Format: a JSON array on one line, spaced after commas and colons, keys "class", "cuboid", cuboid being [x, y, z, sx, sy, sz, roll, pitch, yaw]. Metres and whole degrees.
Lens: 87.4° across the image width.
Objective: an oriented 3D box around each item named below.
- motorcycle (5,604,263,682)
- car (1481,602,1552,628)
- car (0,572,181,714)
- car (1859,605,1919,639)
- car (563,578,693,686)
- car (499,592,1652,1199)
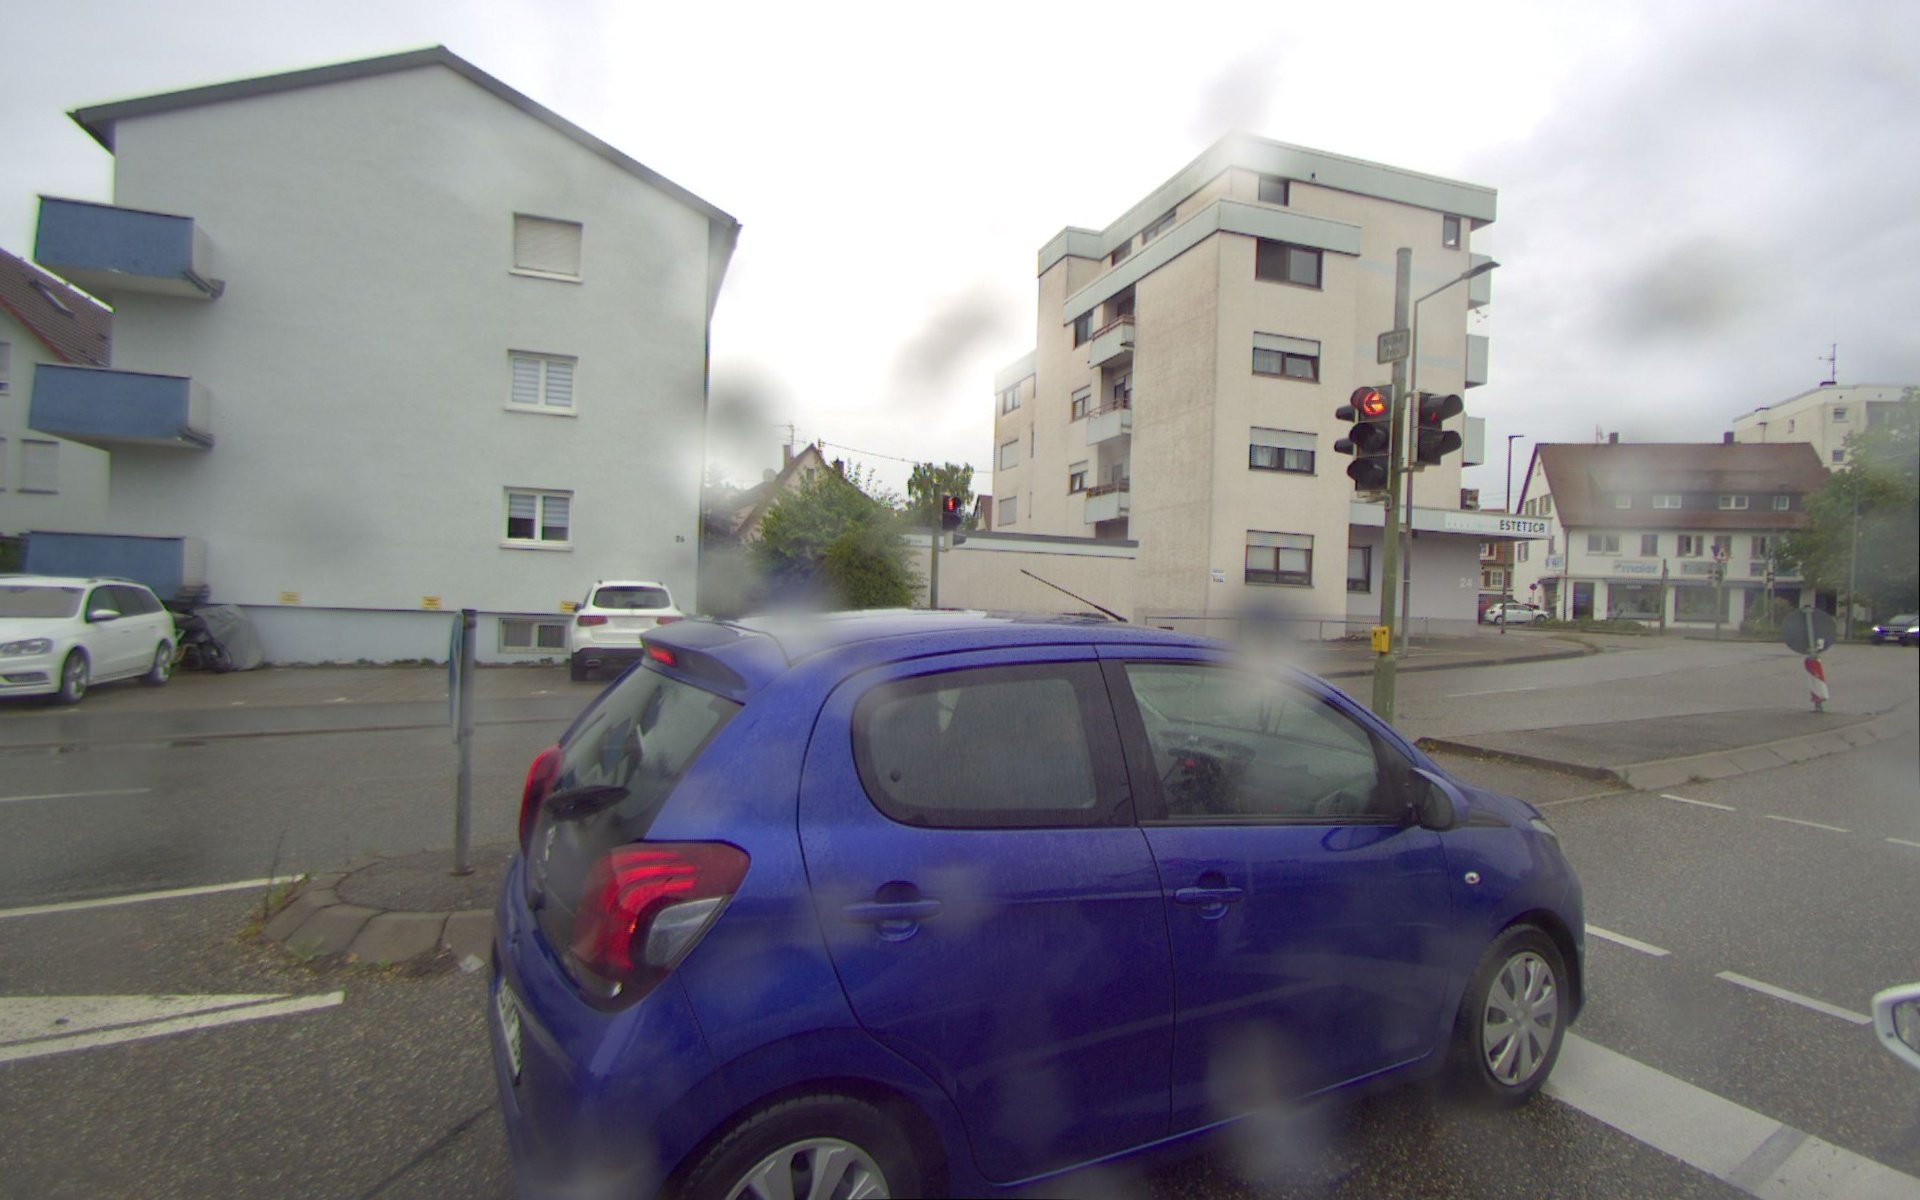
[{"class": "motorcycle", "cuboid": [-13.118, 0.639, 16.076, 0.864, 1.115, 3.113, 2, 1, 43]}, {"class": "car", "cuboid": [38.085, 1.007, 68.838, 3.887, 1.593, 1.873, 1, 1, 17]}, {"class": "car", "cuboid": [-11.368, 0.443, 12.303, 1.878, 1.493, 4.209, 1, 0, -24]}, {"class": "car", "cuboid": [42.323, 0.997, 45.150, 3.785, 1.439, 1.770, 1, 0, -30]}, {"class": "car", "cuboid": [-5.902, 0.499, 17.826, 1.909, 1.658, 4.446, 1, 0, -19]}, {"class": "car", "cuboid": [0.419, 0.731, 3.100, 3.231, 1.429, 1.571, 1, 1, -30]}]
